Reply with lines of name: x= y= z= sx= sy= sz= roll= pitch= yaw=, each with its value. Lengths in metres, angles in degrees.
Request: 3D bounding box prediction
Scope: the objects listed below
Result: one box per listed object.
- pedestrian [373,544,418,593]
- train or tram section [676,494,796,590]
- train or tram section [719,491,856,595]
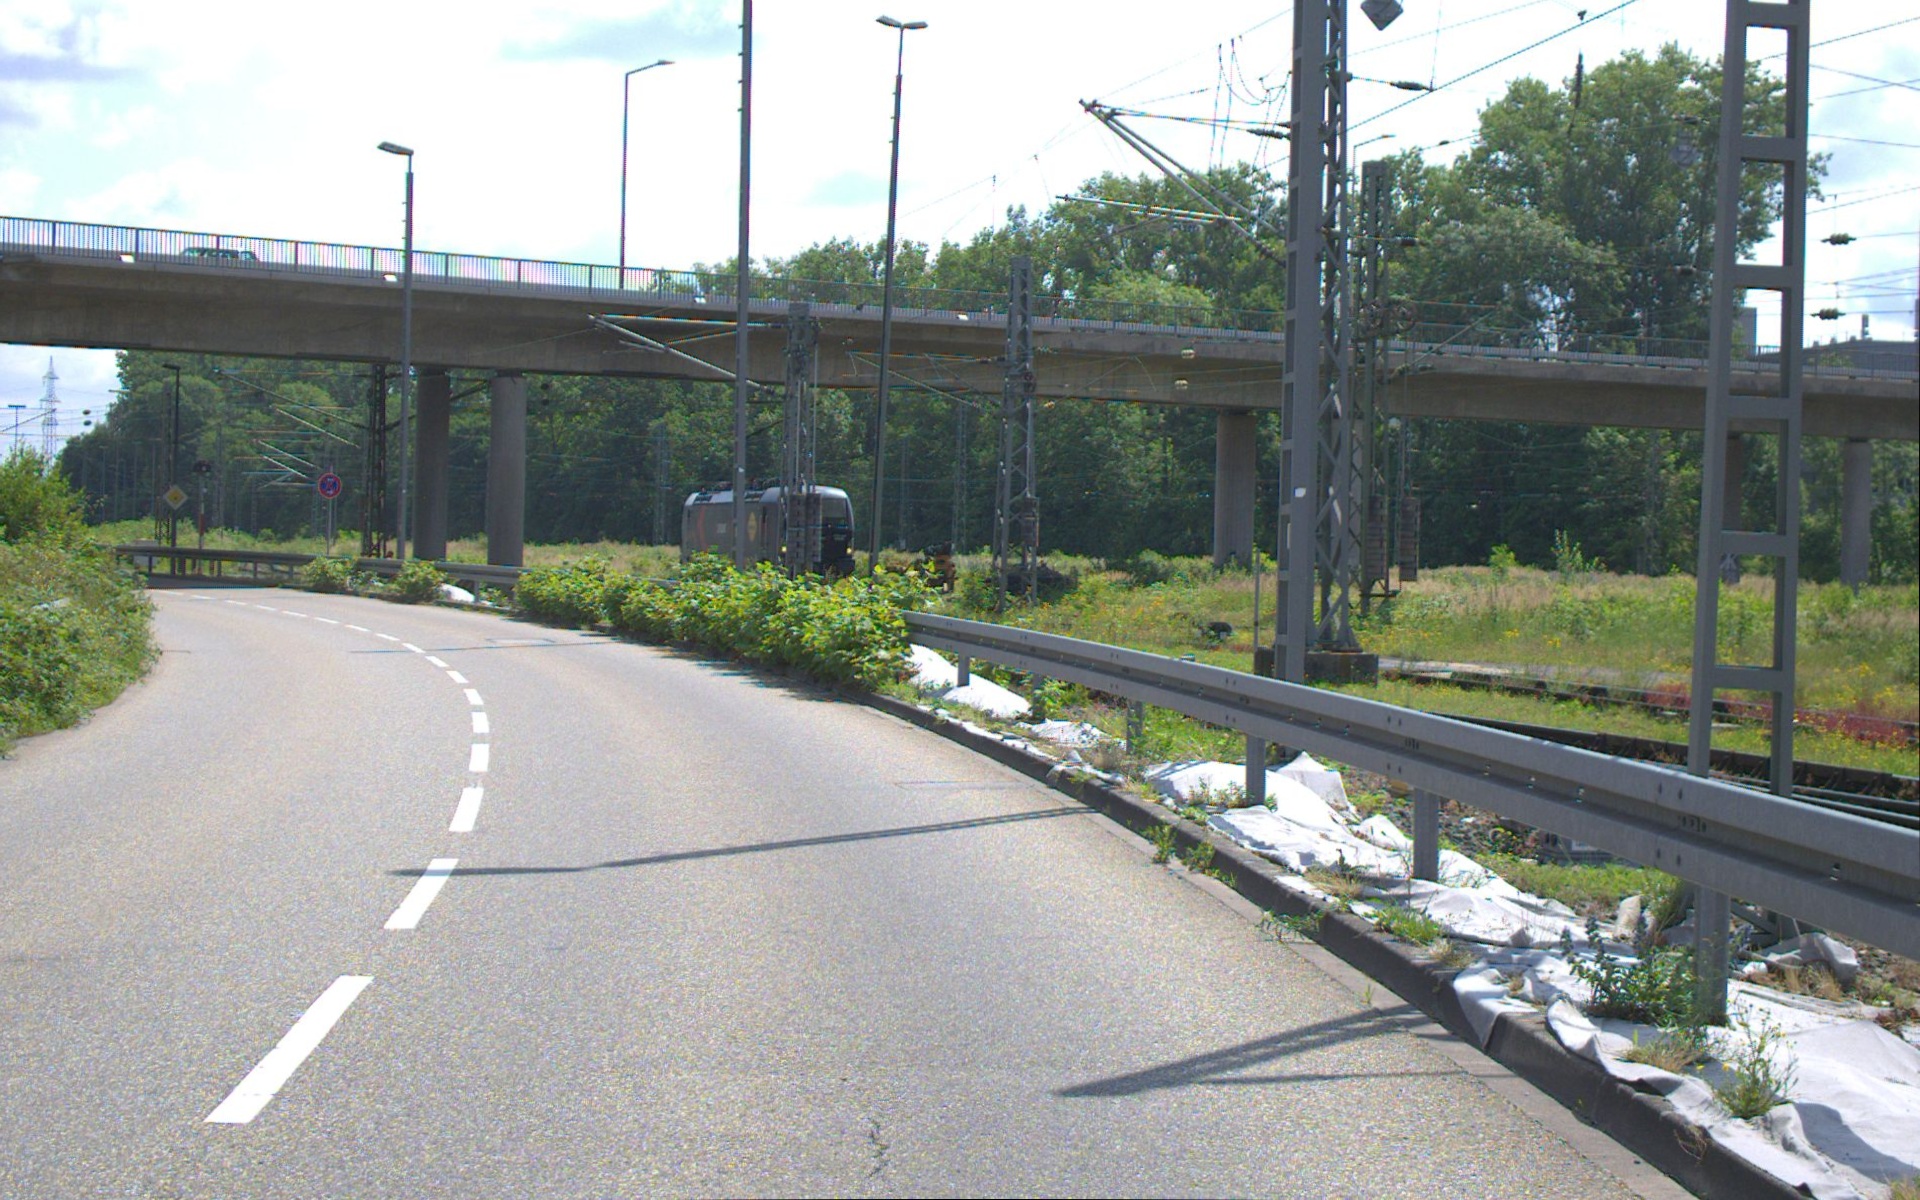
pedestrian: x=-17.927 y=-1.009 z=109.202 sx=1.110 sy=1.534 sz=1.580 roll=1 pitch=0 yaw=-19
train or tram section: x=-8.582 y=-2.192 z=130.744 sx=2.755 sy=3.465 sz=8.241 roll=1 pitch=0 yaw=-16
train or tram section: x=-6.225 y=-2.011 z=122.630 sx=2.889 sy=3.497 sz=8.568 roll=1 pitch=0 yaw=-16
